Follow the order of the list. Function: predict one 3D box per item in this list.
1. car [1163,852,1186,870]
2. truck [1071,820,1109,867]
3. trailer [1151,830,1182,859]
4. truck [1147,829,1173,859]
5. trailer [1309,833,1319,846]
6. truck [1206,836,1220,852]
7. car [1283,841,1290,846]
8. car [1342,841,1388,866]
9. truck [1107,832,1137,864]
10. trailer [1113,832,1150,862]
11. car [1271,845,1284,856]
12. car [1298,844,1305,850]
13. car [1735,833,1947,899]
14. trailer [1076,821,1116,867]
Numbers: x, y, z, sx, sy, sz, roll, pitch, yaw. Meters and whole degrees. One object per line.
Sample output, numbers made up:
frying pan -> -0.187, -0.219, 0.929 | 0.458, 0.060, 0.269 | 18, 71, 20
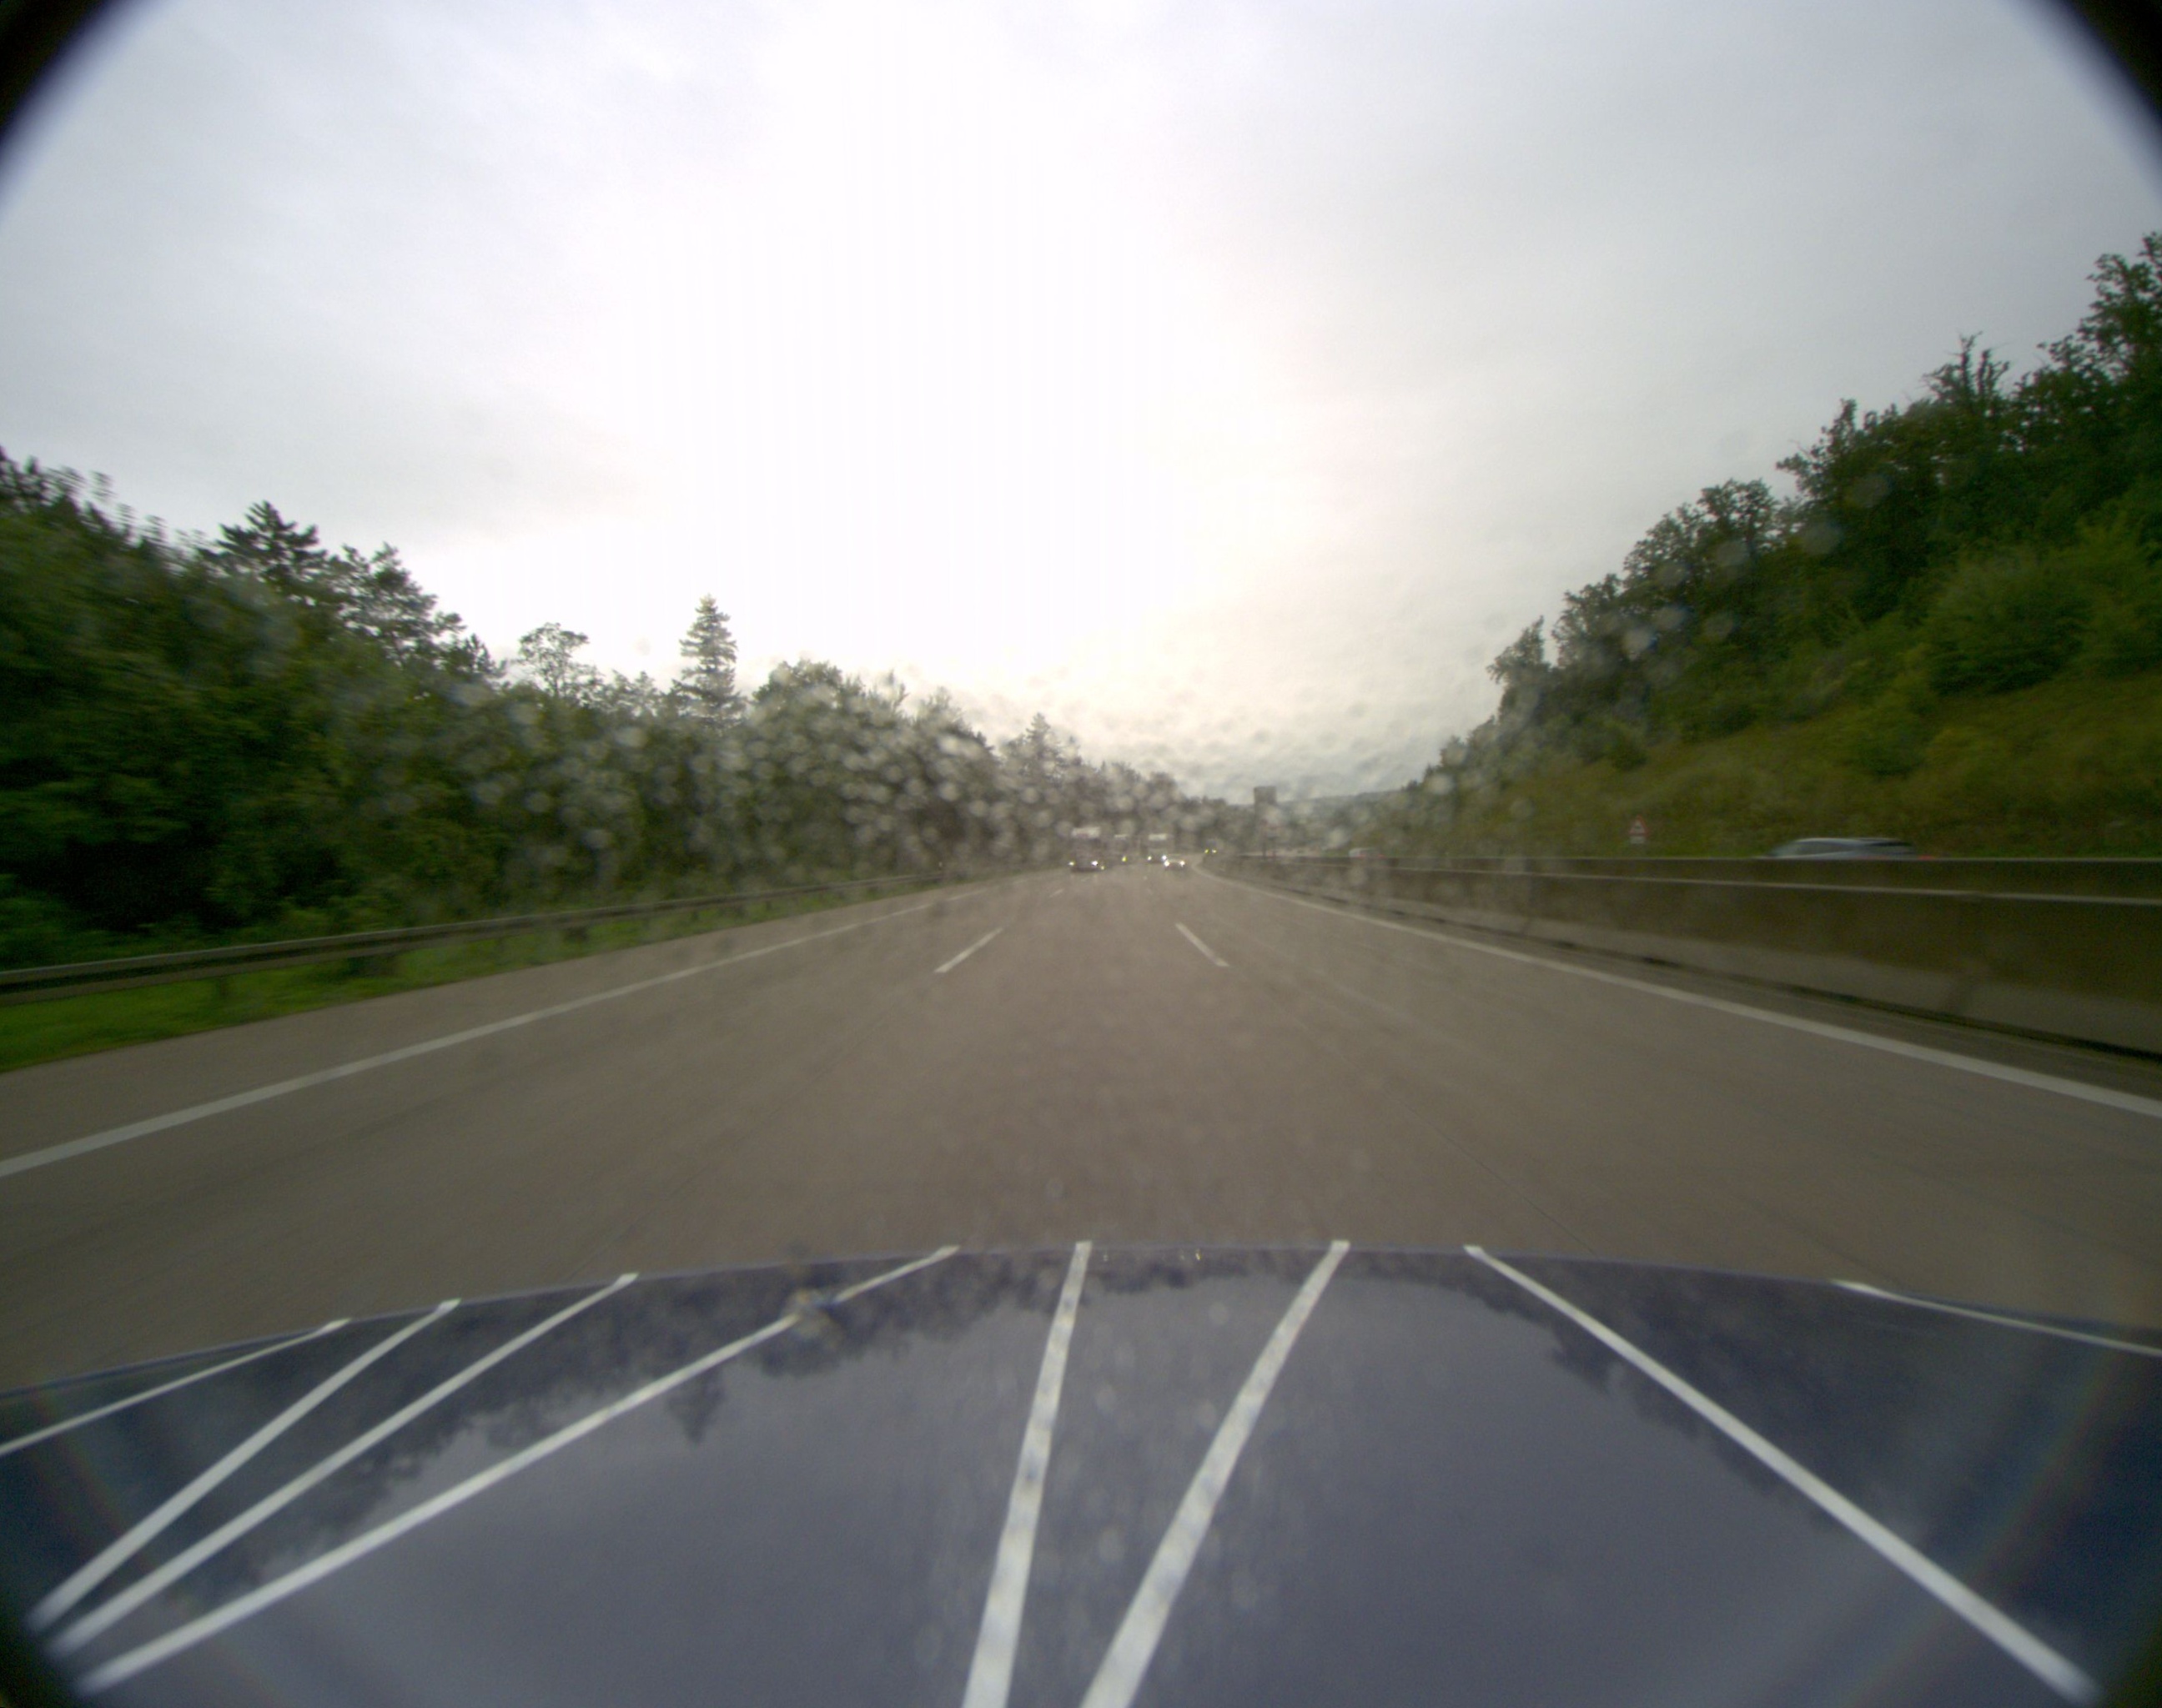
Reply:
car -> 8.288, 0.626, 67.198 | 1.849, 1.474, 4.452 | -1, 0, 9
truck -> 0.877, -0.880, 68.926 | 2.379, 3.930, 6.163 | -4, 0, 8
trailer -> 12.921, -1.450, 114.036 | 2.683, 4.017, 13.717 | -3, 0, 14
truck -> 11.240, -1.395, 107.206 | 2.725, 4.017, 5.758 | -3, 0, 14
trailer -> 72.414, -4.397, 235.882 | 2.910, 3.866, 11.049 | -1, 1, 18
truck -> 35.650, -2.712, 204.596 | 2.734, 4.127, 8.630 | -2, 0, 15
car -> 64.680, -3.318, 238.926 | 1.733, 1.766, 4.762 | -1, 1, 11
car -> 19.563, -0.040, 52.462 | 1.781, 1.629, 4.000 | -1, 1, 2
truck -> 5.622, -0.879, 102.183 | 2.802, 4.080, 5.973 | -1, 1, 14
trailer -> 7.409, -1.077, 109.200 | 2.738, 4.080, 13.695 | -1, 1, 14
car -> 29.779, -0.514, 115.329 | 1.779, 1.509, 4.003 | -1, 1, 12
car -> 59.623, -1.886, 205.646 | 1.733, 1.567, 4.248 | -1, 1, 14
car -> 21.160, 0.282, 21.450 | 1.781, 1.629, 4.253 | -1, 1, 2
trailer -> 1.589, -0.809, 74.251 | 2.375, 3.930, 12.529 | -3, -1, 7
